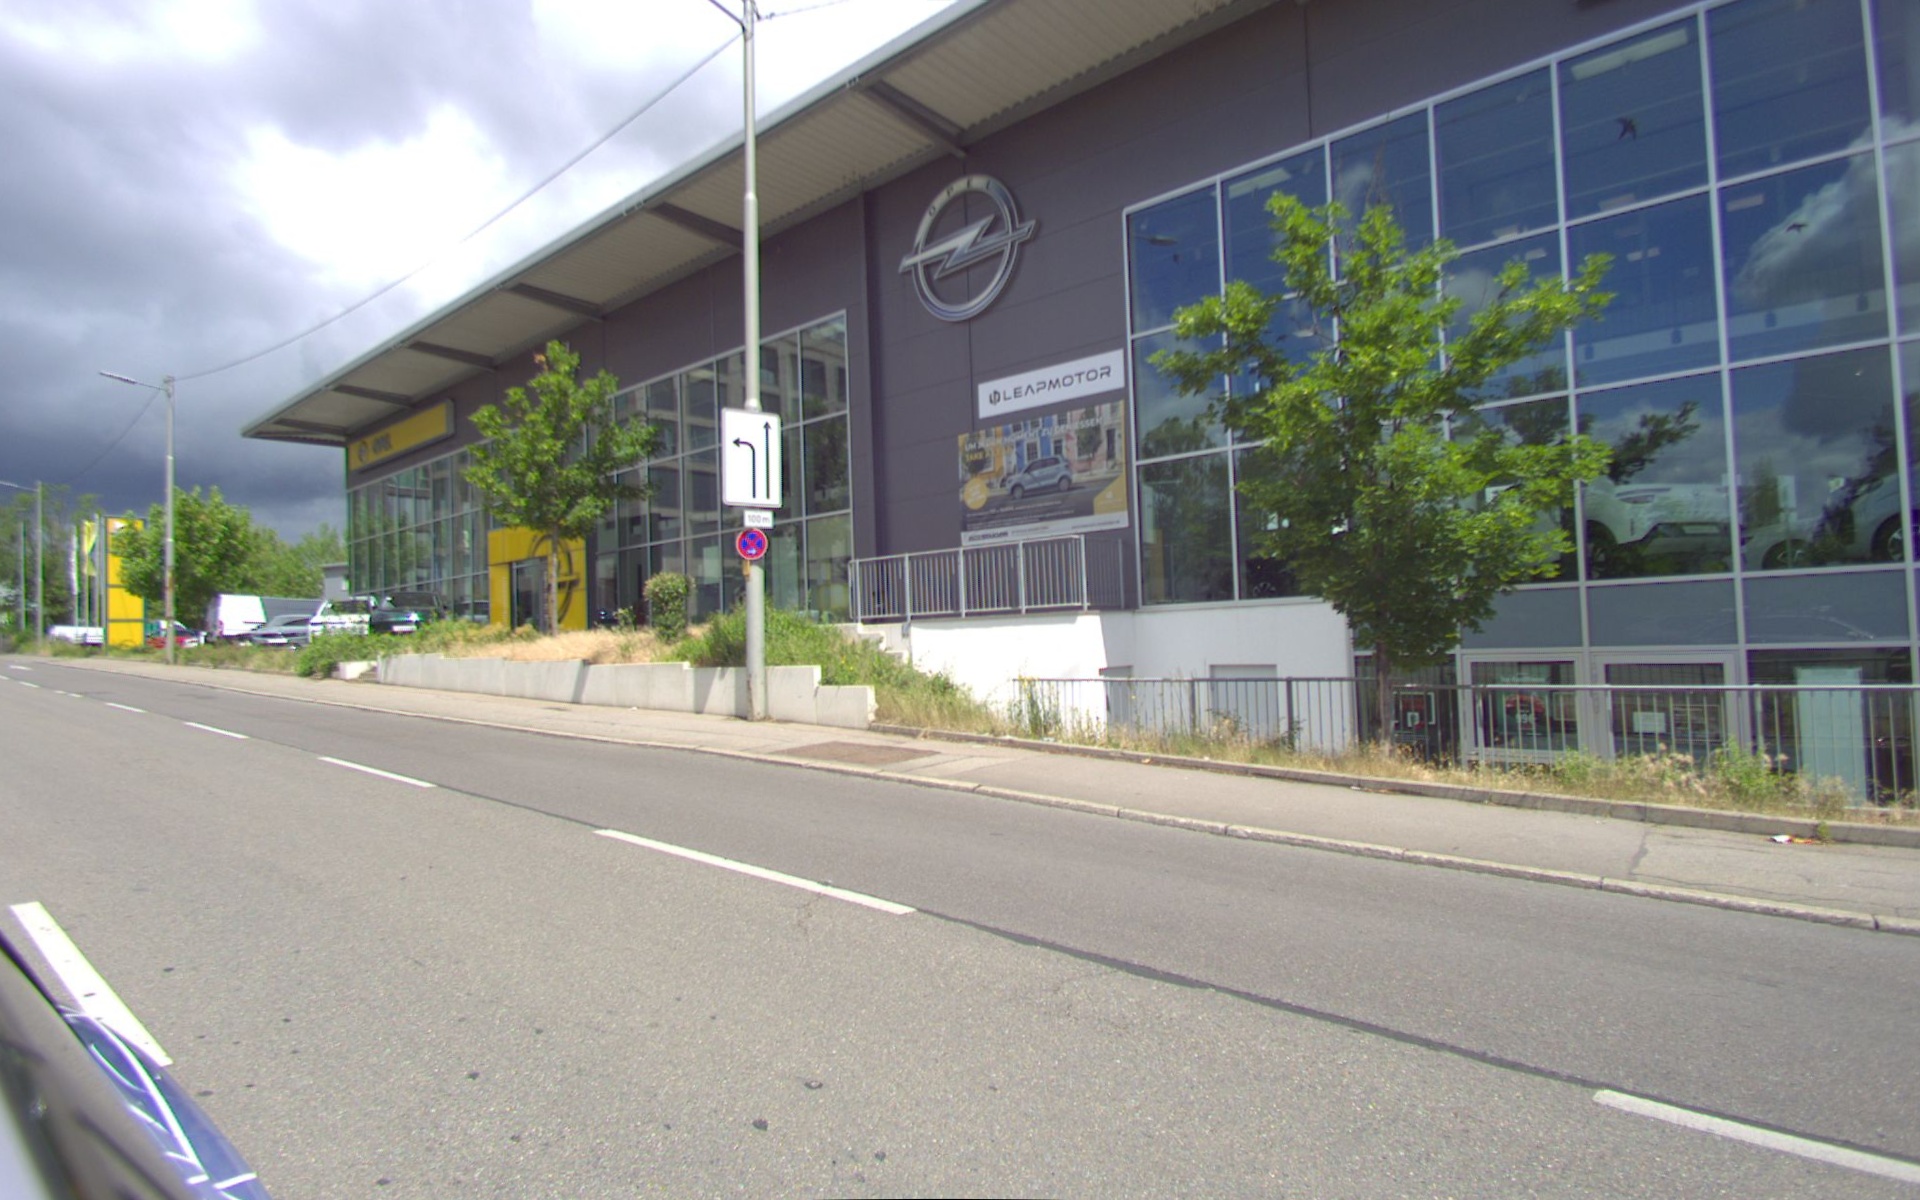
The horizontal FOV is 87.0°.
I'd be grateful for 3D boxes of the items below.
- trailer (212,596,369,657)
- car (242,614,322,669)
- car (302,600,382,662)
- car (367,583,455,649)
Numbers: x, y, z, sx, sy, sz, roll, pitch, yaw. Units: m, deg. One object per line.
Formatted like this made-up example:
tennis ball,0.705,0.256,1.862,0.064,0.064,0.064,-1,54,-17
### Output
trailer,-27.422,1.081,41.609,1.998,2.367,5.011,-1,-2,39
car,-23.475,1.402,35.156,1.966,1.807,4.012,1,-1,-29
car,-19.211,0.943,31.594,1.966,1.807,4.012,1,-2,-29
car,-15.684,0.467,28.805,1.966,1.741,4.011,1,-2,-31
